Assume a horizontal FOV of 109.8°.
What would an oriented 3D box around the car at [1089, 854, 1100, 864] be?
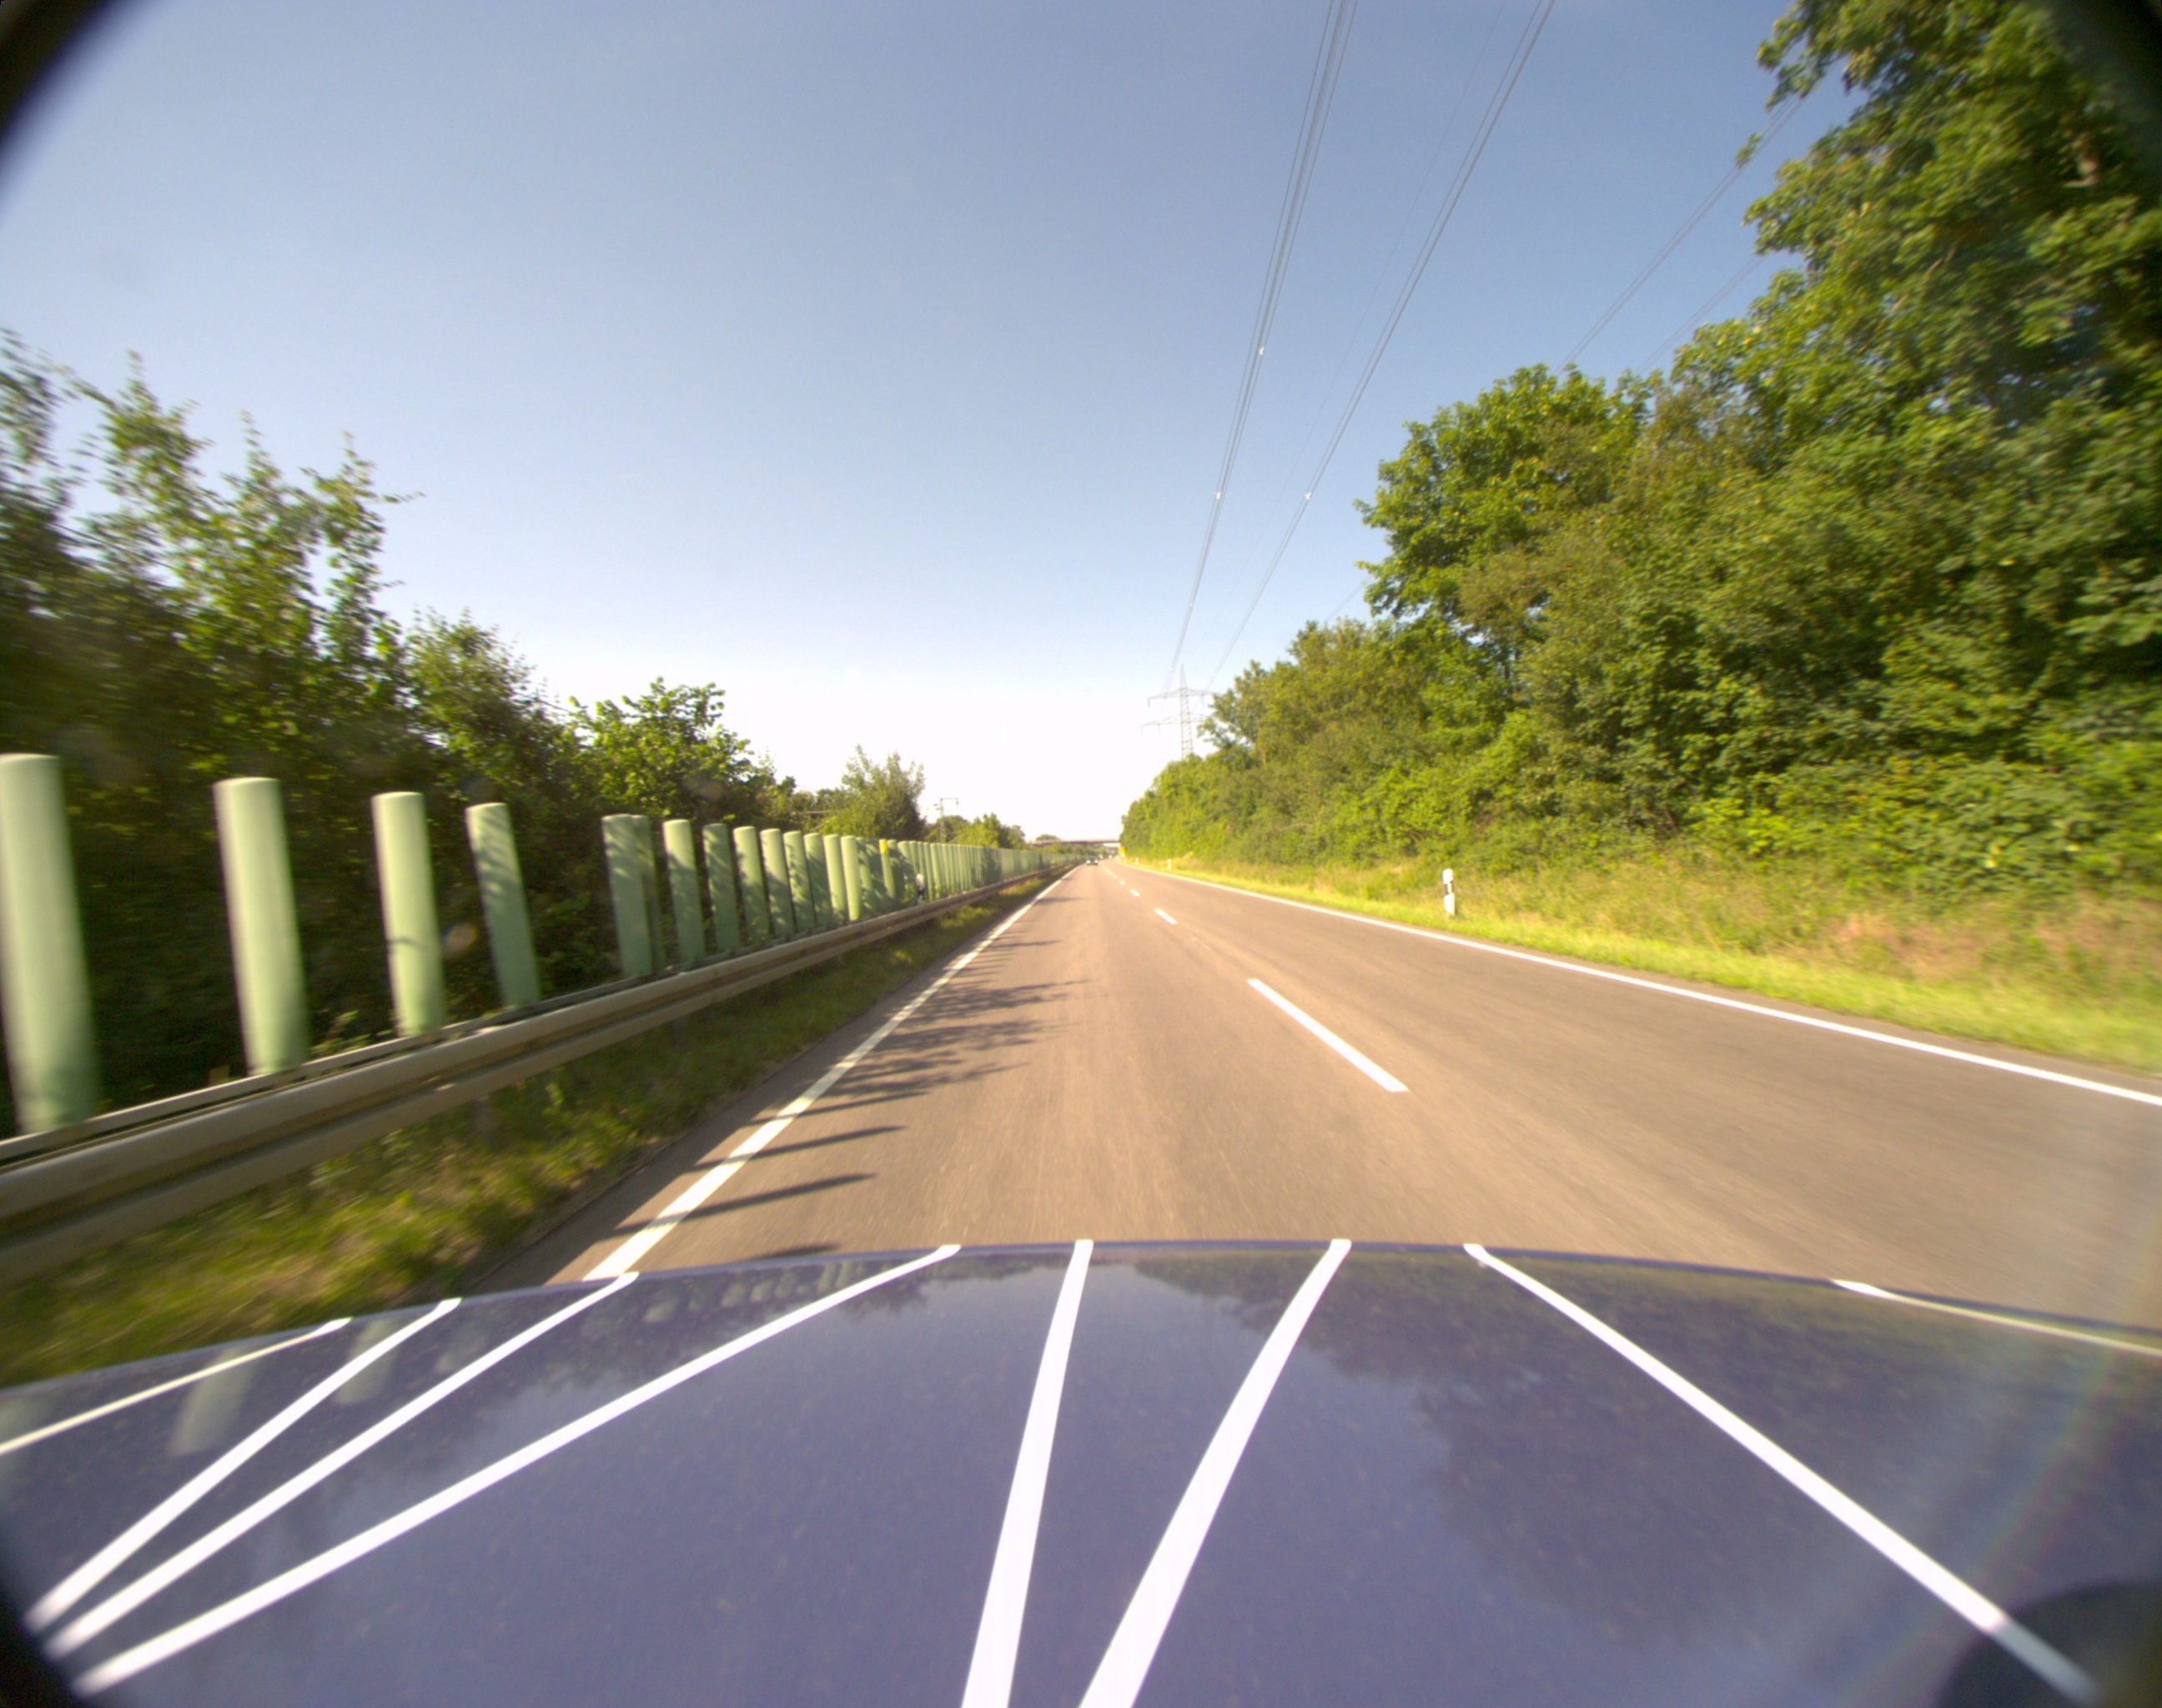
[{"bbox_3d":[2.295,0.831,126.661,1.787,1.550,4.000,-2,0,1],"label":"car"}]
